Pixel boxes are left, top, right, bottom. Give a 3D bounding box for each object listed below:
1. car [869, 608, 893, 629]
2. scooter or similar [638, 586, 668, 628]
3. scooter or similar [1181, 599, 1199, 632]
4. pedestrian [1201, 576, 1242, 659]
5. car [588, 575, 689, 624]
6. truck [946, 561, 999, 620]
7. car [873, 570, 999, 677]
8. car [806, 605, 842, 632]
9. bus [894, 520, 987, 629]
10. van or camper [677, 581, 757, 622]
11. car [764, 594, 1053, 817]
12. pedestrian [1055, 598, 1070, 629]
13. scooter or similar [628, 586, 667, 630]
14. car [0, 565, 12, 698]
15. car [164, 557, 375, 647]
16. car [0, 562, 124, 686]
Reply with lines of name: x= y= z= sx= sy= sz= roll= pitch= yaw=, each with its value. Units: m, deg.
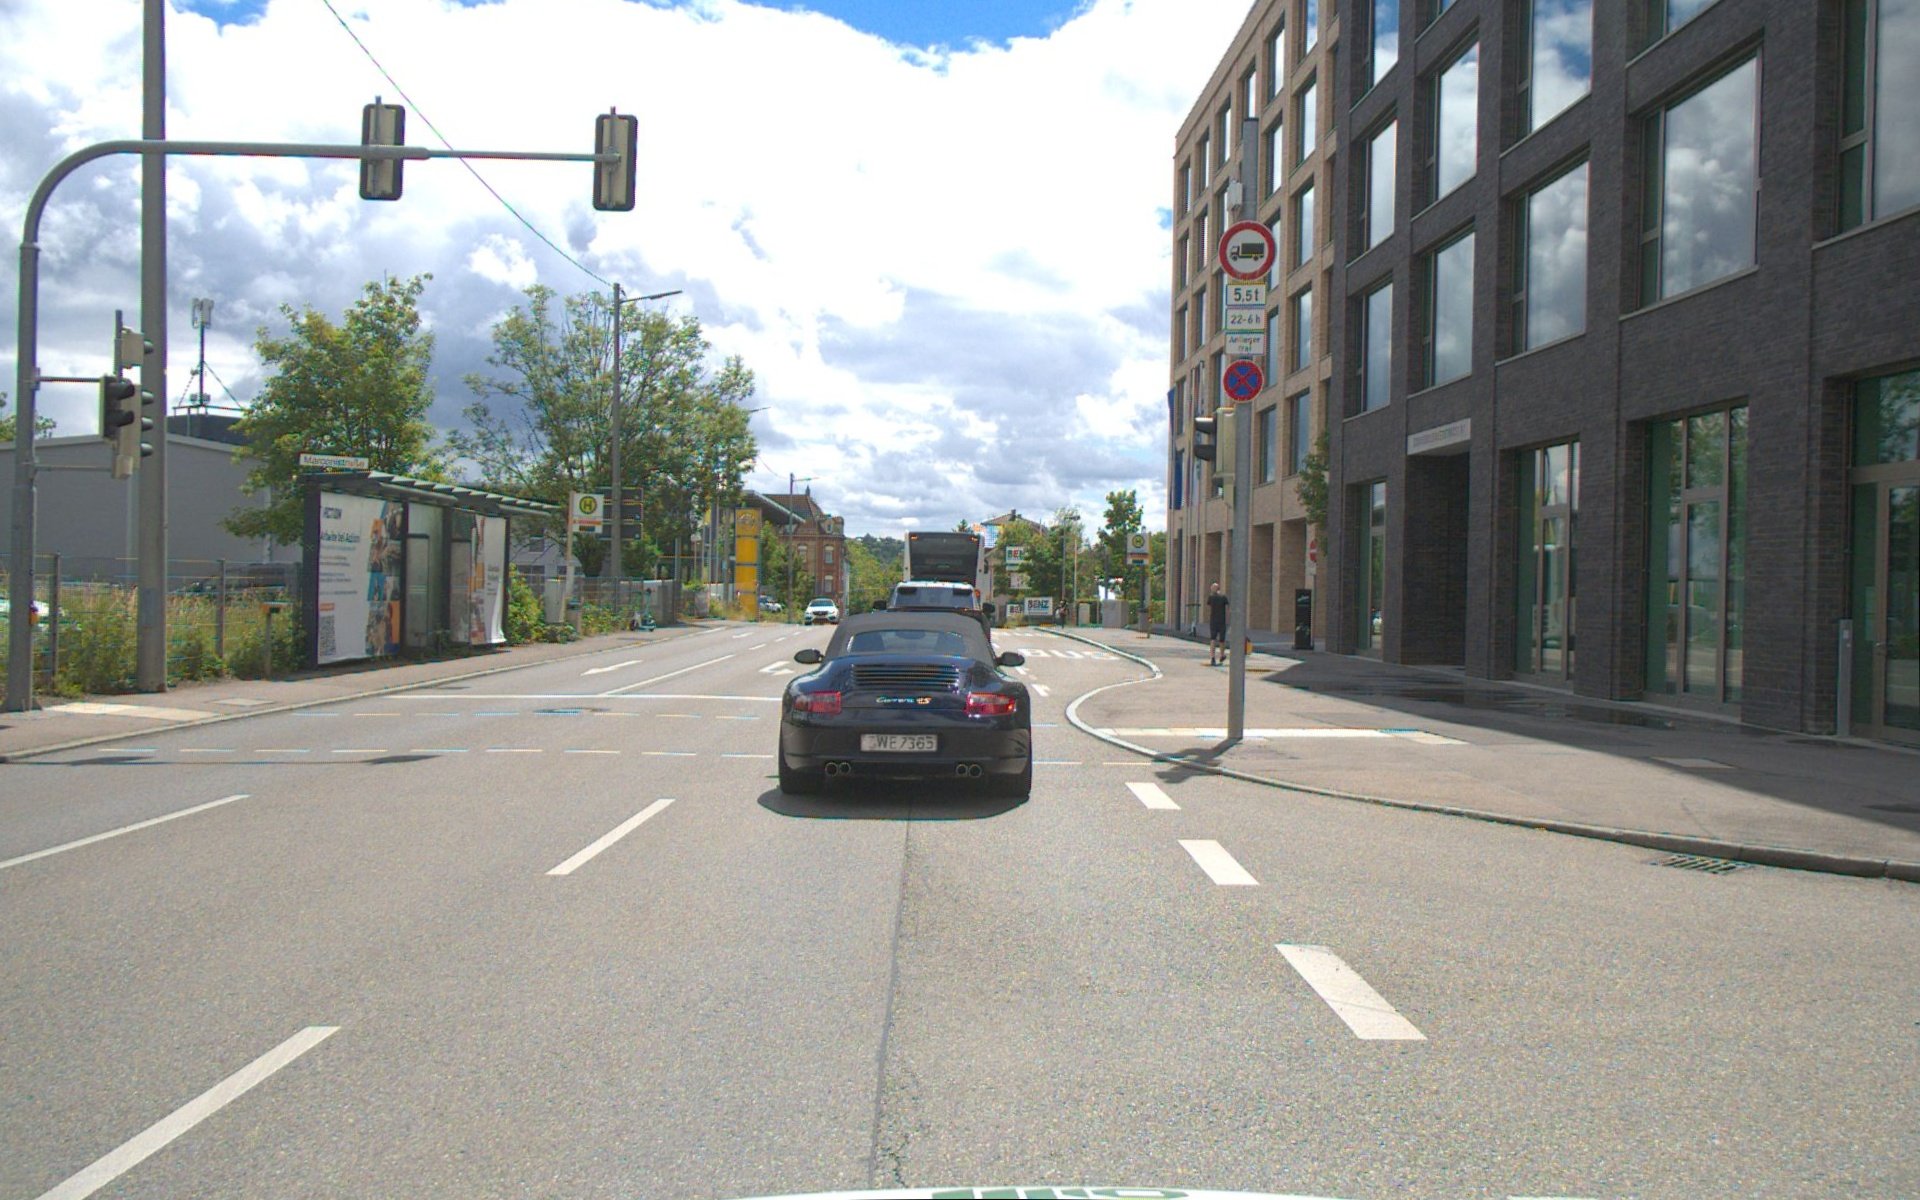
car: x=-6.072 y=1.421 z=126.475 sx=1.793 sy=1.535 sz=4.274 roll=0 pitch=-1 yaw=-3
scooter or similar: x=-9.527 y=0.215 z=51.351 sx=0.523 sy=1.288 sz=1.472 roll=2 pitch=0 yaw=4
scooter or similar: x=8.418 y=0.569 z=60.473 sx=0.418 sy=1.173 sz=1.403 roll=0 pitch=0 yaw=-2
pedestrian: x=5.638 y=0.367 z=35.677 sx=0.669 sy=1.758 sz=0.962 roll=2 pitch=0 yaw=-2
car: x=-14.072 y=-0.036 z=72.581 sx=4.078 sy=2.049 sz=2.197 roll=1 pitch=1 yaw=-4
truck: x=0.623 y=-0.531 z=91.105 sx=2.659 sy=3.108 sz=7.711 roll=0 pitch=0 yaw=-2
car: x=-0.477 y=0.346 z=27.444 sx=1.892 sy=1.610 sz=4.205 roll=1 pitch=0 yaw=-3
car: x=-7.436 y=0.989 z=90.757 sx=1.760 sy=1.400 sz=4.223 roll=0 pitch=1 yaw=-1
bus: x=-0.574 y=-0.860 z=56.434 sx=2.745 sy=3.253 sz=12.196 roll=1 pitch=1 yaw=0
van or camper: x=-16.042 y=0.059 z=109.348 sx=4.926 sy=2.575 sz=2.317 roll=1 pitch=1 yaw=-2
car: x=-0.352 y=0.697 z=13.099 sx=1.891 sy=1.400 sz=4.208 roll=1 pitch=1 yaw=0
pedestrian: x=5.192 y=0.667 z=84.132 sx=0.673 sy=1.563 sz=0.856 roll=1 pitch=-1 yaw=-2
scooter or similar: x=-9.408 y=0.235 z=49.856 sx=0.523 sy=1.284 sz=1.472 roll=2 pitch=0 yaw=16
car: x=-12.441 y=0.325 z=17.208 sx=4.019 sy=1.443 sz=1.916 roll=1 pitch=0 yaw=-1
car: x=-16.409 y=0.050 z=39.500 sx=4.196 sy=2.049 sz=2.137 roll=1 pitch=0 yaw=-9
car: x=-12.872 y=0.244 z=20.240 sx=4.222 sy=1.443 sz=2.025 roll=1 pitch=0 yaw=0
